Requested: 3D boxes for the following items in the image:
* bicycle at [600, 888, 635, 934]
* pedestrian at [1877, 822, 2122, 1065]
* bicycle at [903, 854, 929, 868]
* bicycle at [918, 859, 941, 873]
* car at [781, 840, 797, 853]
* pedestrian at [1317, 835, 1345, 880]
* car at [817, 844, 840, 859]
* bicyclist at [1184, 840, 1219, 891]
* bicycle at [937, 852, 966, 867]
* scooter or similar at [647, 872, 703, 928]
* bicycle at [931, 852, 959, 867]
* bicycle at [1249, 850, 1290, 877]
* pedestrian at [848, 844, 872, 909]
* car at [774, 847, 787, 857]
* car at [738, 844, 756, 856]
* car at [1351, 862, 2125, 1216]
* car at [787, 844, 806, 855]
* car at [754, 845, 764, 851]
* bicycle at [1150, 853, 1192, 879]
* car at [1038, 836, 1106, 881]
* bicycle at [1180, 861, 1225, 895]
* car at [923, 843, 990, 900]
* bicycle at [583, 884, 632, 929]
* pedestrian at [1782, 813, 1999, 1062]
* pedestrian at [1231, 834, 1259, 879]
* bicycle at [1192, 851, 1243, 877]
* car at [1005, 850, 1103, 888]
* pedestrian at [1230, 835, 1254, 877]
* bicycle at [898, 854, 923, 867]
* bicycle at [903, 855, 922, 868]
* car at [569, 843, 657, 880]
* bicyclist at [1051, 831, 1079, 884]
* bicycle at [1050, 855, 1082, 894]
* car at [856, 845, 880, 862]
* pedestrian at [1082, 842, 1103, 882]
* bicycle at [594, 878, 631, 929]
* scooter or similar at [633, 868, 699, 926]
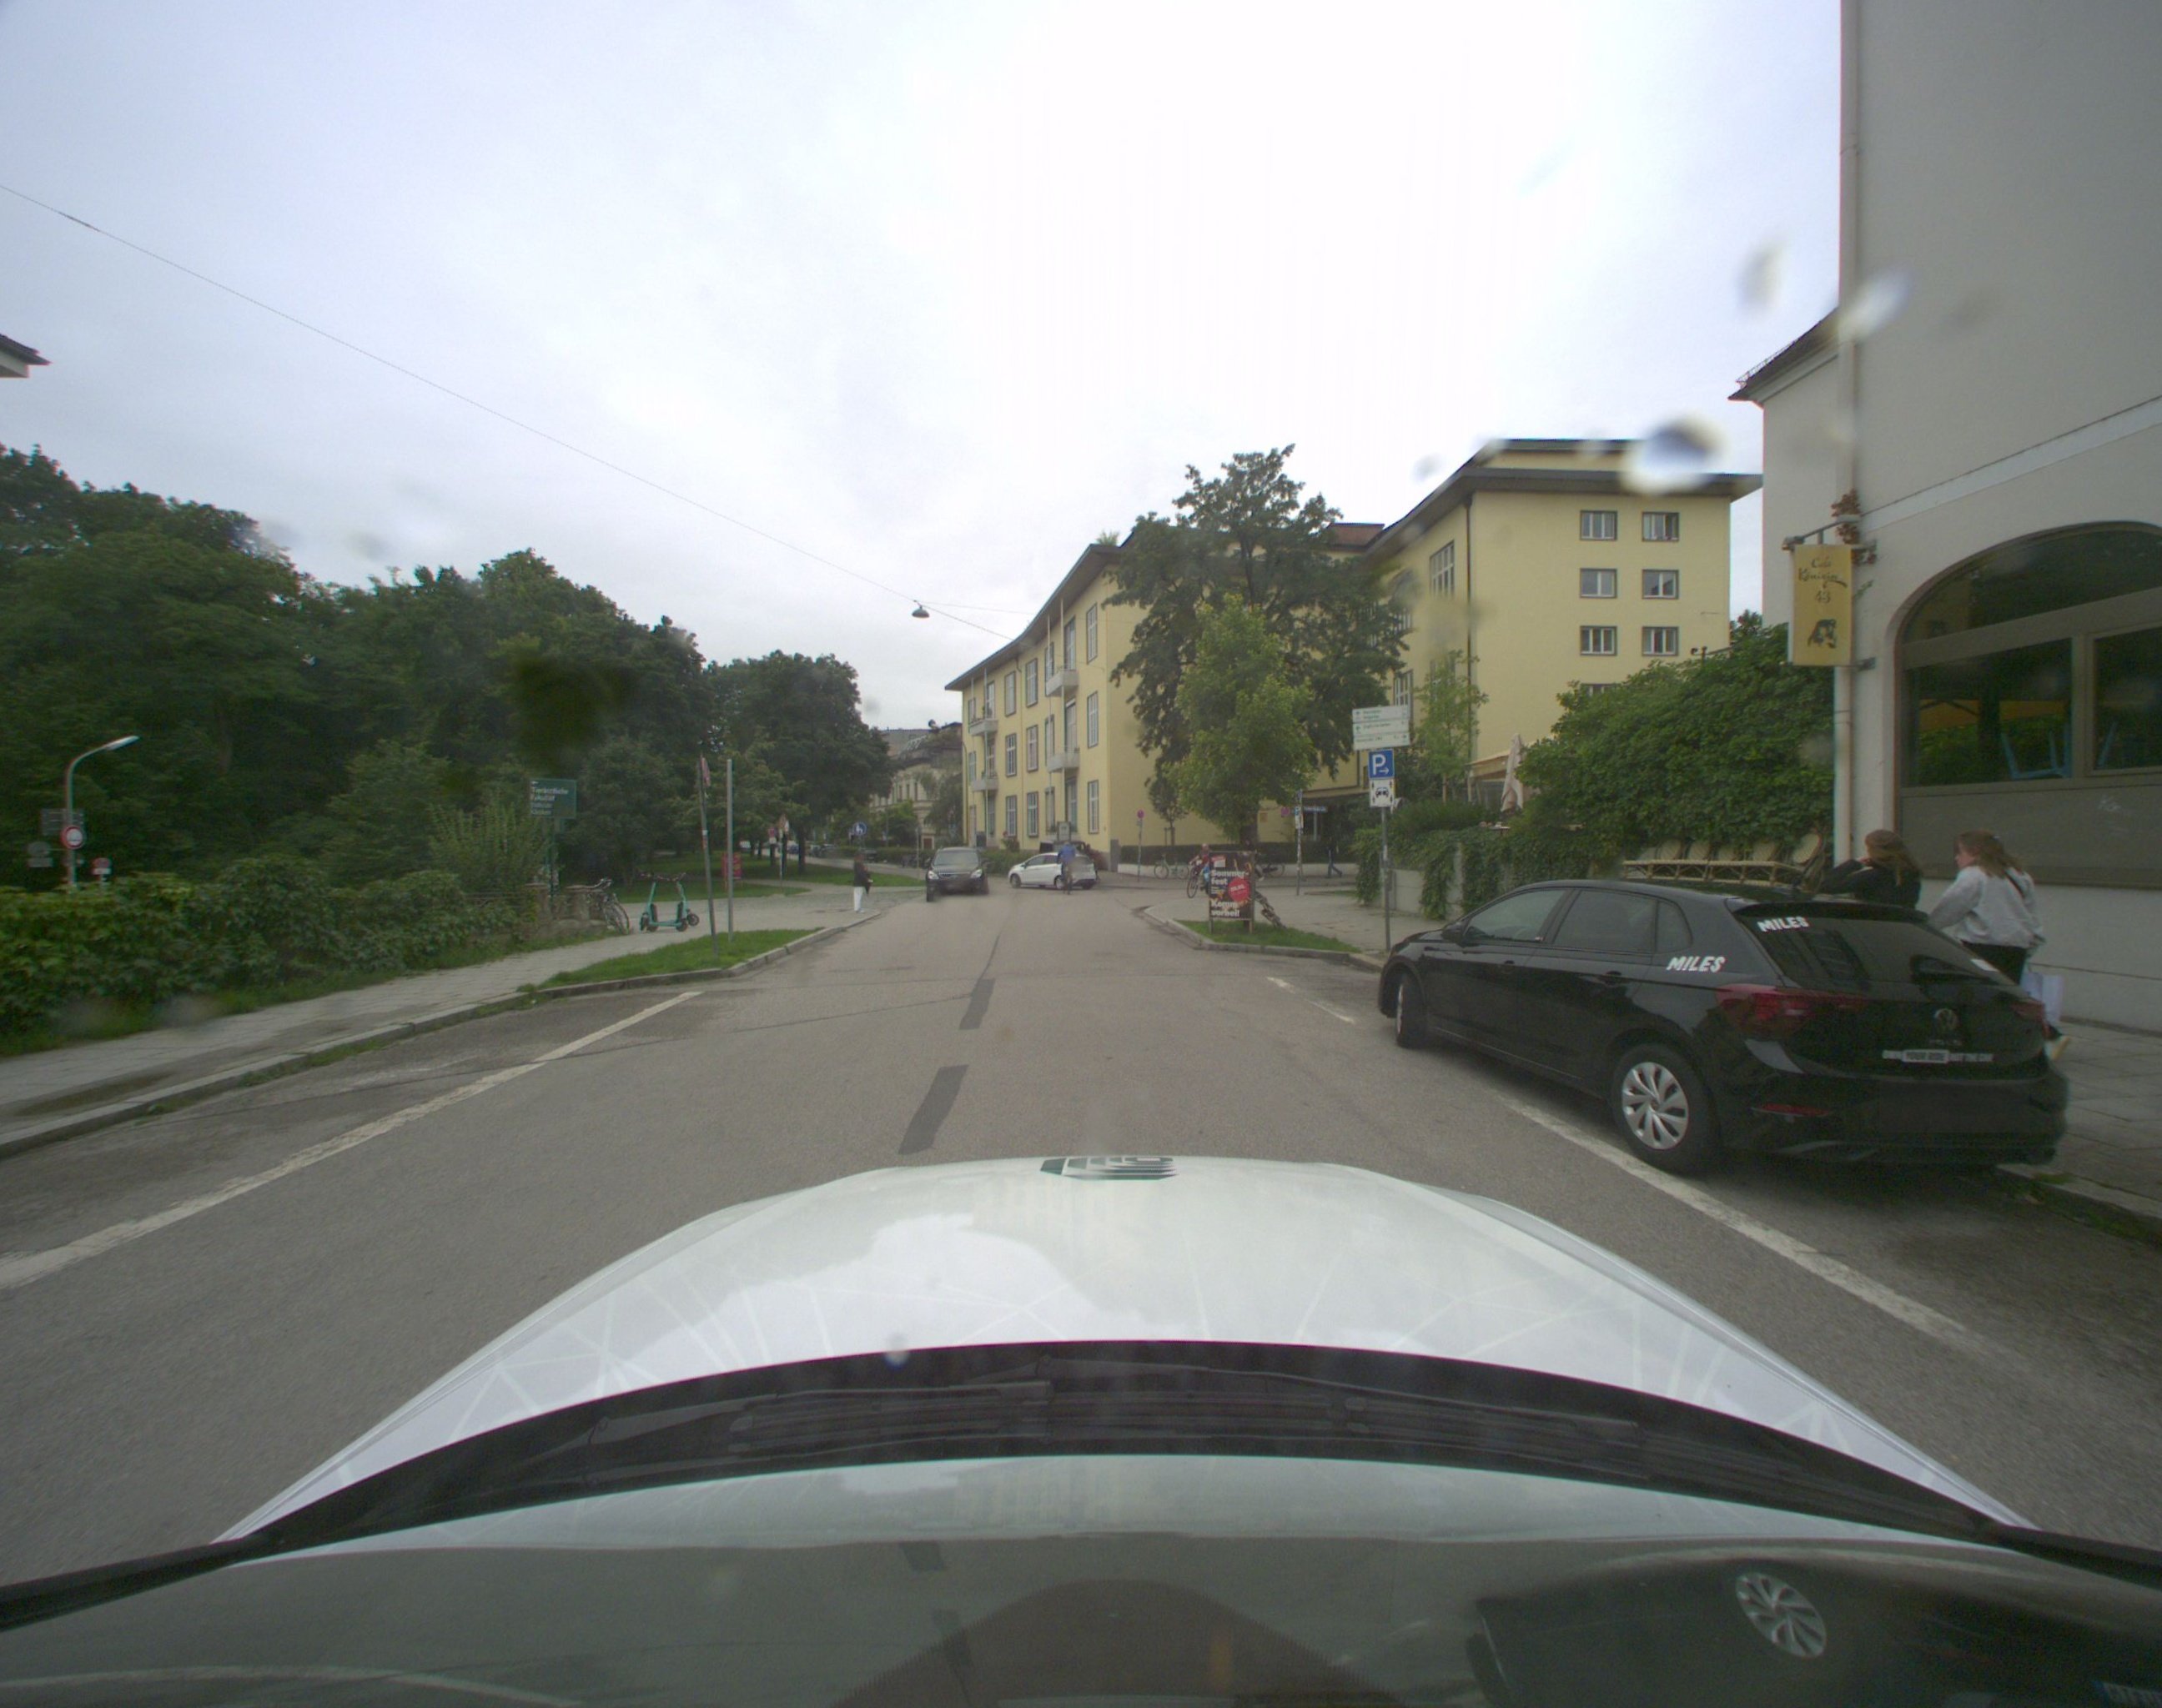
[{"bbox_3d":[-9.689,1.180,17.040,0.435,0.893,1.320,-1,-1,-21],"label":"bicycle"},{"bbox_3d":[6.581,0.598,5.889,0.805,1.606,0.828,-2,0,-4],"label":"pedestrian"},{"bbox_3d":[-13.066,0.551,64.567,1.988,1.028,0.612,-1,0,-41],"label":"bicycle"},{"bbox_3d":[-11.317,0.904,61.011,0.527,1.028,1.990,-1,0,29],"label":"bicycle"},{"bbox_3d":[-46.302,-1.189,129.088,2.076,1.966,4.937,-1,1,-24],"label":"car"},{"bbox_3d":[10.692,0.135,34.840,0.848,1.857,0.766,-2,0,-4],"label":"pedestrian"},{"bbox_3d":[-30.056,-0.322,96.905,1.803,1.679,3.964,-1,1,-28],"label":"car"},{"bbox_3d":[3.913,0.366,26.418,0.867,1.609,1.055,0,1,23],"label":"bicyclist"},{"bbox_3d":[-9.199,0.403,57.936,1.988,1.028,0.612,-1,0,-41],"label":"bicycle"},{"bbox_3d":[-9.108,1.007,18.315,0.434,1.212,1.059,-1,-2,29],"label":"scooter or similar"},{"bbox_3d":[-9.851,0.389,58.912,1.988,1.028,0.612,-1,0,-41],"label":"bicycle"},{"bbox_3d":[8.200,0.423,35.491,1.679,1.130,0.459,-1,1,-4],"label":"bicycle"},{"bbox_3d":[-5.879,0.582,21.714,0.543,1.697,0.663,-2,1,-15],"label":"pedestrian"},{"bbox_3d":[-51.436,-0.299,139.240,1.737,1.702,3.967,-1,1,-25],"label":"car"},{"bbox_3d":[-48.285,-0.592,117.630,2.004,1.600,4.428,-1,1,-27],"label":"car"},{"bbox_3d":[3.516,0.828,5.468,1.712,1.394,3.992,3,0,-6],"label":"car"},{"bbox_3d":[-42.183,-0.733,120.624,2.005,1.600,4.216,-1,1,-28],"label":"car"},{"bbox_3d":[-79.693,-1.520,201.822,1.999,1.600,4.439,-1,1,-19],"label":"car"},{"bbox_3d":[4.080,0.549,36.986,1.925,1.084,0.532,-2,-1,40],"label":"bicycle"},{"bbox_3d":[-0.498,0.150,36.760,1.878,1.887,4.593,-1,1,-16],"label":"car"},{"bbox_3d":[3.980,0.760,26.547,0.868,1.019,2.203,0,1,24],"label":"bicycle"},{"bbox_3d":[-4.122,0.490,27.402,1.992,1.719,4.604,-1,1,-7],"label":"car"},{"bbox_3d":[-10.751,1.176,18.470,1.259,0.977,0.417,-1,1,34],"label":"bicycle"},{"bbox_3d":[5.741,0.553,5.826,0.677,1.628,0.828,-1,0,-5],"label":"pedestrian"},{"bbox_3d":[6.706,0.103,33.336,0.987,1.809,0.659,-1,0,-4],"label":"pedestrian"},{"bbox_3d":[6.011,0.456,35.848,2.152,1.115,0.643,-1,1,13],"label":"bicycle"},{"bbox_3d":[-1.124,0.556,32.433,3.680,1.406,1.764,0,1,41],"label":"car"},{"bbox_3d":[6.801,0.094,34.448,0.825,1.746,0.740,-1,1,-4],"label":"pedestrian"},{"bbox_3d":[-13.914,0.532,66.443,1.988,1.028,0.612,-1,0,-41],"label":"bicycle"},{"bbox_3d":[-13.808,0.601,66.768,1.546,1.014,0.404,-3,1,-44],"label":"bicycle"},{"bbox_3d":[-27.220,0.418,47.499,1.765,2.013,4.025,-1,1,28],"label":"car"},{"bbox_3d":[-0.558,0.107,28.312,0.912,1.764,1.213,-1,1,-4],"label":"bicyclist"},{"bbox_3d":[-0.548,0.673,28.391,0.919,1.252,2.317,-1,1,-5],"label":"bicycle"},{"bbox_3d":[-20.852,-0.080,79.582,1.655,1.558,3.530,-1,1,-25],"label":"car"},{"bbox_3d":[0.510,0.356,36.626,0.846,1.757,0.953,-1,1,-1],"label":"pedestrian"},{"bbox_3d":[-10.543,1.096,18.326,1.176,1.111,0.303,-1,-1,38],"label":"bicycle"},{"bbox_3d":[-8.955,0.924,17.587,1.253,1.244,0.395,-1,-1,8],"label":"scooter or similar"}]
